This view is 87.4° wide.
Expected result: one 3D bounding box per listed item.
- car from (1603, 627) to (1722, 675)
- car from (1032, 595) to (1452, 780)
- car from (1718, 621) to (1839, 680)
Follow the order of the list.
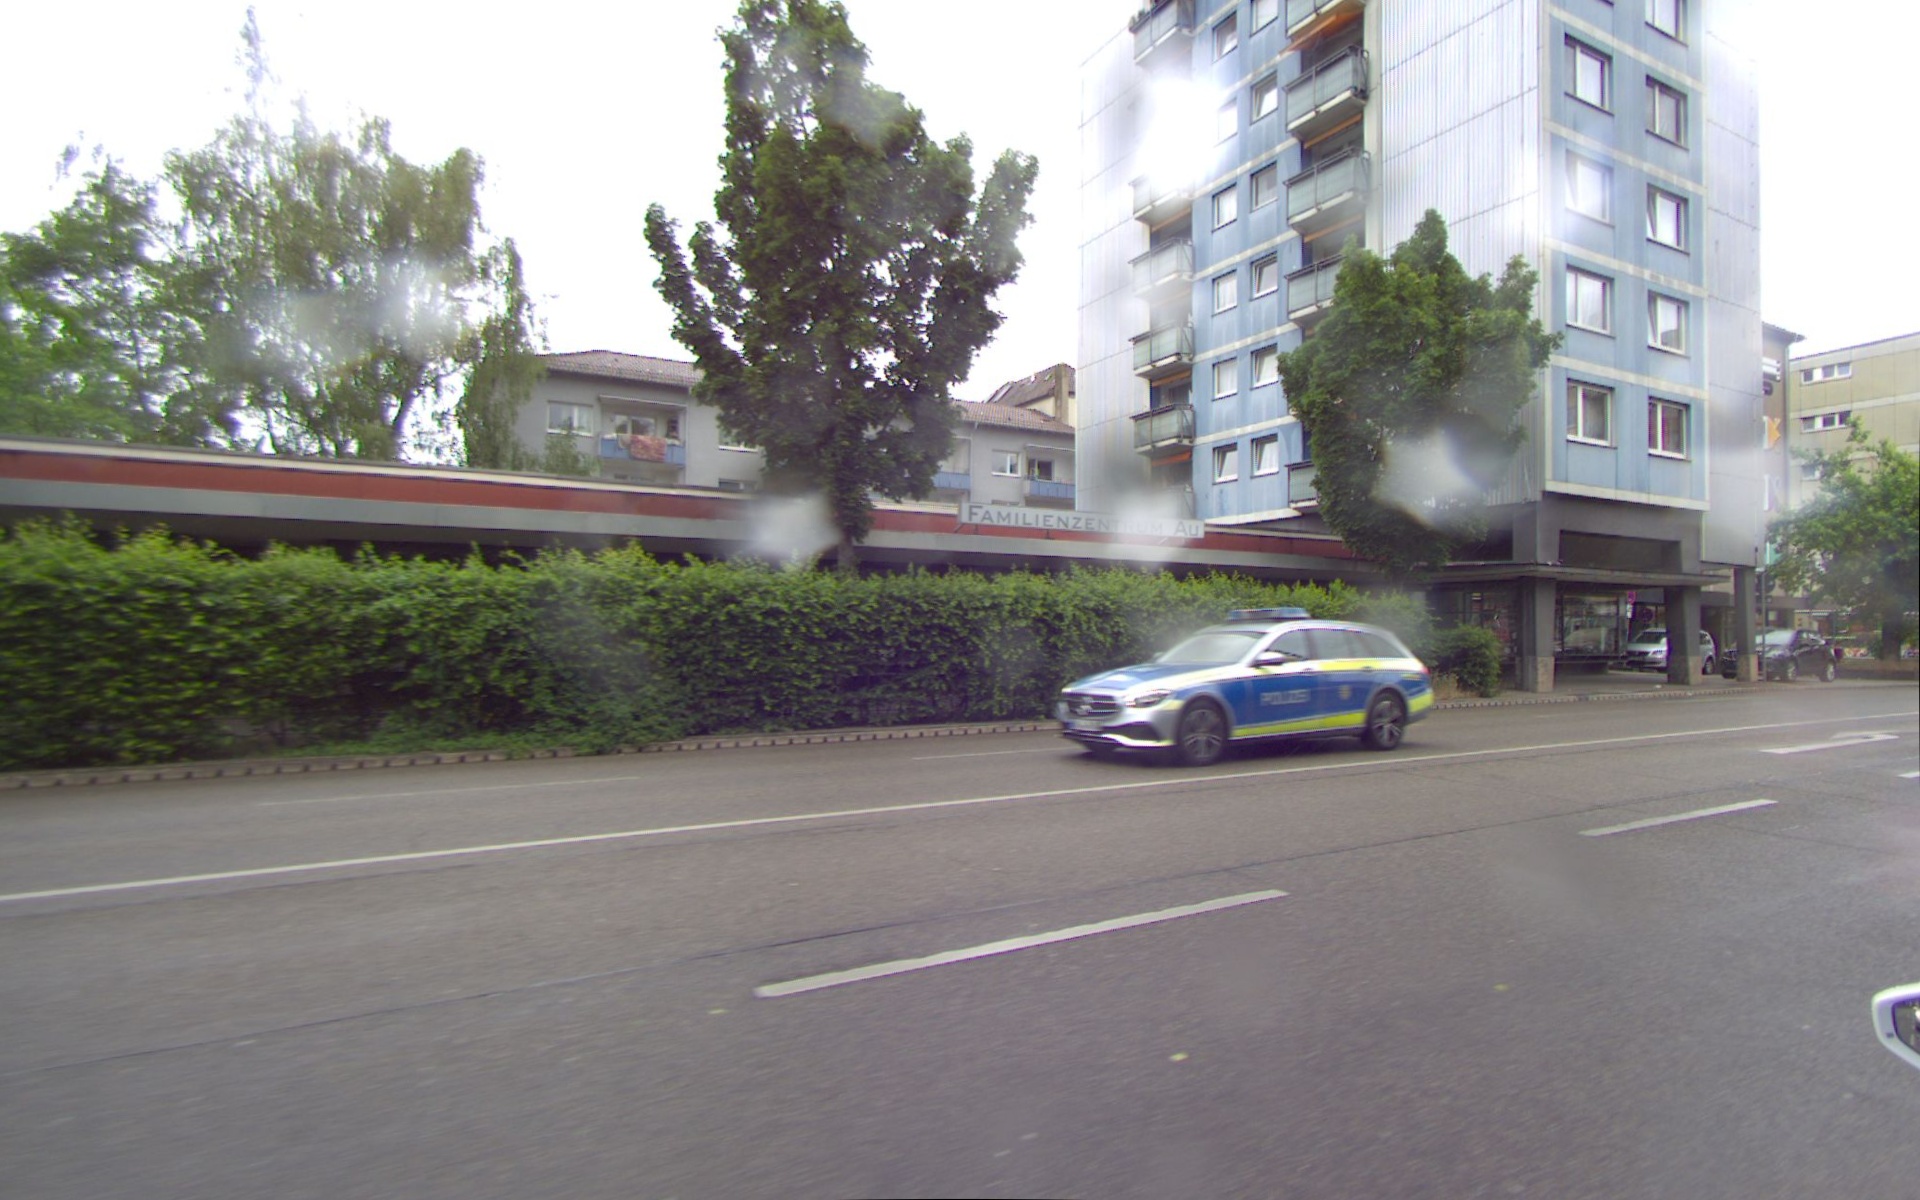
[{"bbox_3d":[26.176,1.857,37.398,4.458,1.676,1.984,1,-2,-31],"label":"car"},{"bbox_3d":[3.351,0.918,11.716,4.750,1.773,1.985,1,-2,-30],"label":"car"},{"bbox_3d":[25.688,1.559,31.496,4.236,1.728,1.532,1,-1,-30],"label":"car"}]
